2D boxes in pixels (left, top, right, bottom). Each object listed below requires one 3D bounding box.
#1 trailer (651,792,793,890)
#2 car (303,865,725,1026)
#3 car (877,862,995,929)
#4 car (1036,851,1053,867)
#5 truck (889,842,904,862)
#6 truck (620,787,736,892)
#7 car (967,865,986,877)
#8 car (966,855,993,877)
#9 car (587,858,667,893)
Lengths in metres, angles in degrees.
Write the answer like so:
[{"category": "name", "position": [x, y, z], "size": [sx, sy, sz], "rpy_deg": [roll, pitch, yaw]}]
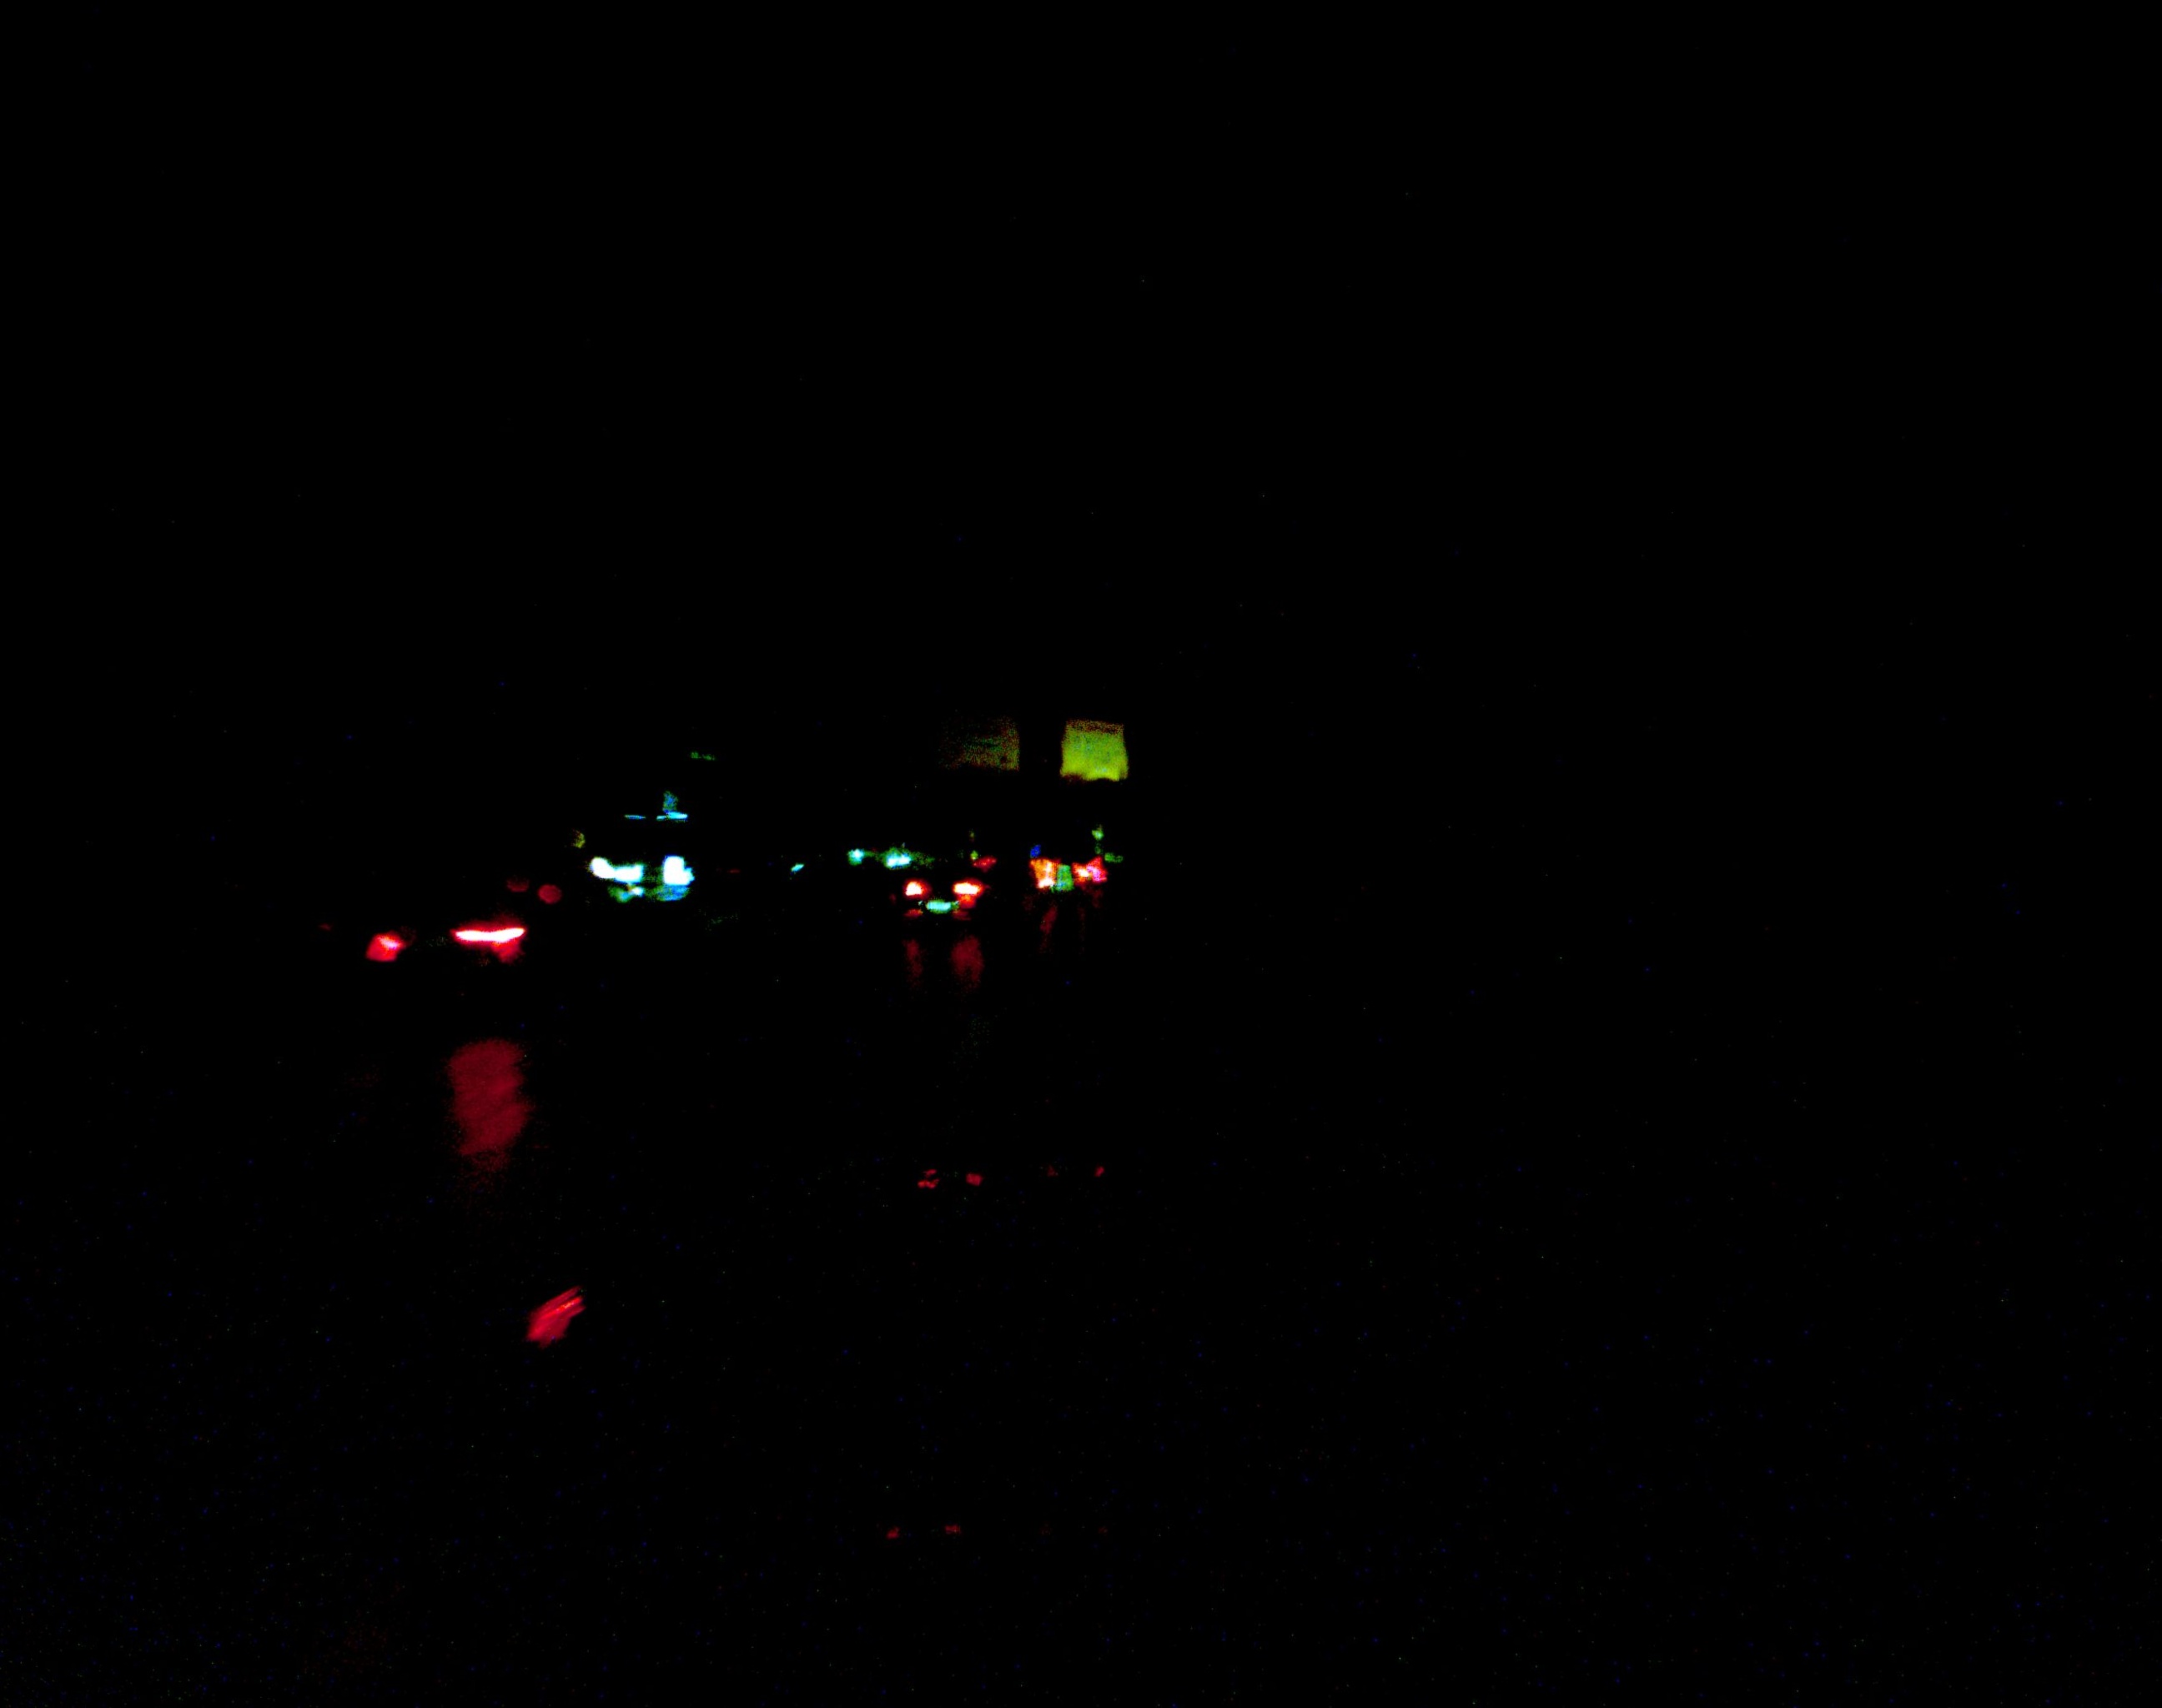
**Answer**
[{"category": "trailer", "position": [-18.694, -0.464, 43.704], "size": [2.569, 4.457, 12.478], "rpy_deg": [1, -1, -3]}, {"category": "car", "position": [-6.508, 0.908, 10.266], "size": [1.761, 1.517, 4.916], "rpy_deg": [0, -1, 1]}, {"category": "car", "position": [-3.257, 0.923, 19.125], "size": [1.955, 1.381, 4.049], "rpy_deg": [1, -1, 1]}, {"category": "car", "position": [-4.779, 0.699, 106.416], "size": [1.987, 2.014, 3.999], "rpy_deg": [0, -1, 0]}, {"category": "truck", "position": [-33.057, -0.389, 145.863], "size": [2.607, 3.458, 4.619], "rpy_deg": [1, -1, -13]}, {"category": "truck", "position": [-18.411, -0.562, 37.615], "size": [2.559, 4.404, 5.844], "rpy_deg": [1, -1, -3]}, {"category": "car", "position": [-13.415, 2.175, 104.718], "size": [1.889, 1.545, 4.000], "rpy_deg": [0, -1, 0]}, {"category": "car", "position": [-7.354, 0.881, 59.290], "size": [1.890, 1.550, 3.991], "rpy_deg": [0, -1, -6]}, {"category": "car", "position": [-24.001, 1.132, 43.220], "size": [1.988, 1.728, 3.998], "rpy_deg": [0, -1, -1]}]
